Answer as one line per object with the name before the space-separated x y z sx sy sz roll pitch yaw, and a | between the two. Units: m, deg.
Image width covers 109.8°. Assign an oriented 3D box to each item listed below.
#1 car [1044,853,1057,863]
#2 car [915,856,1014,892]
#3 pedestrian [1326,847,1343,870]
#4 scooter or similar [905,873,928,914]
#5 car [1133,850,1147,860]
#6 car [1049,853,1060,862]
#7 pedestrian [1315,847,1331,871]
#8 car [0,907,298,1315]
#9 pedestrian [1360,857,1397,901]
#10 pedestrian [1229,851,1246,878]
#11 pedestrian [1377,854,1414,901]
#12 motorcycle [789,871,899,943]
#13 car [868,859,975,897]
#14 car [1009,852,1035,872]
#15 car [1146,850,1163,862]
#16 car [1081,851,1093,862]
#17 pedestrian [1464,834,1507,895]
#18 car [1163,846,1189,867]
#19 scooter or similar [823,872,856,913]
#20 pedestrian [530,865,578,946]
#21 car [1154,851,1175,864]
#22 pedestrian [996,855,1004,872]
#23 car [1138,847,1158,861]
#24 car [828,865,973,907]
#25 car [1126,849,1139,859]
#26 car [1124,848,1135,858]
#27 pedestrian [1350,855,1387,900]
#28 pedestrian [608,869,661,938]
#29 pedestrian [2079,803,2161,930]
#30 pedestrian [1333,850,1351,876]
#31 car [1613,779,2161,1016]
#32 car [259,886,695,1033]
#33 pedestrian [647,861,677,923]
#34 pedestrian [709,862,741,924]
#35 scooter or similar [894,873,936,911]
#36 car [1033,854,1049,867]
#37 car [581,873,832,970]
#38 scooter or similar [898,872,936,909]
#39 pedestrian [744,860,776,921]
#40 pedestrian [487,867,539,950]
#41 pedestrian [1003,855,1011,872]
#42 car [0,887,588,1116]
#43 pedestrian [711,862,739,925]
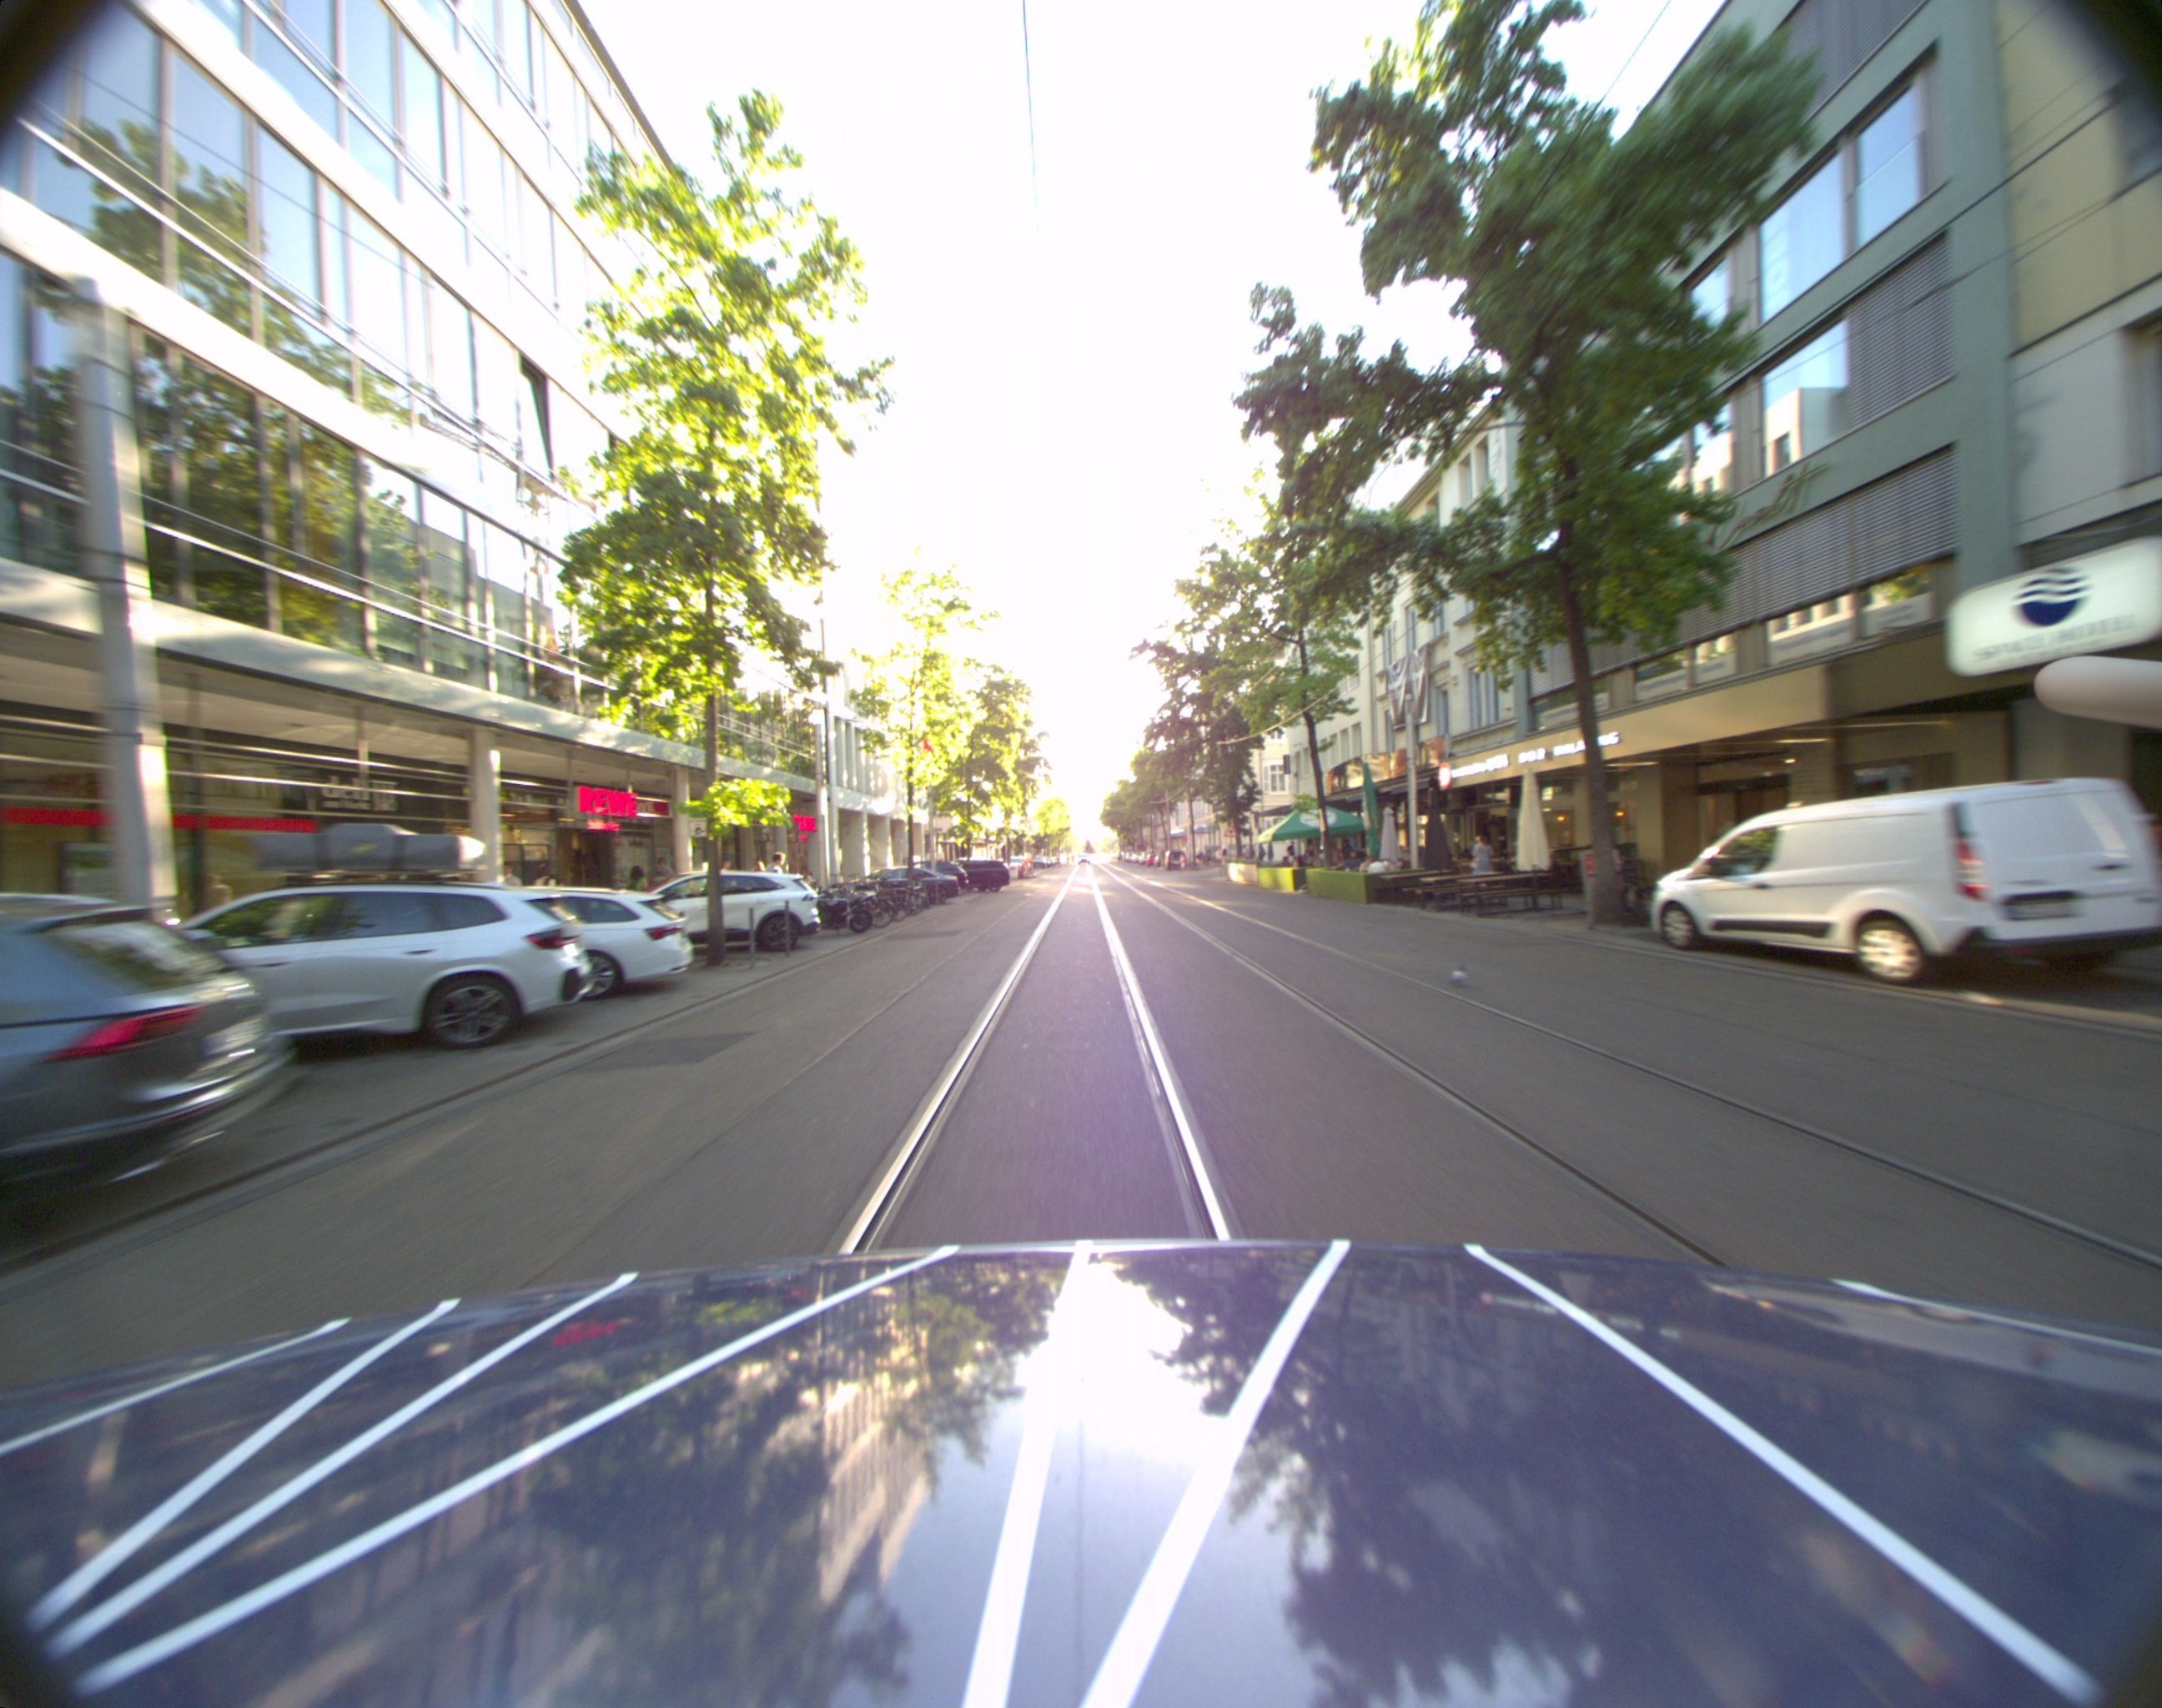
car | -4.800 0.683 121.586 1.770 1.502 4.286 -3 0 1
car | -6.036 0.993 39.374 4.674 1.753 1.990 0 1 -29
pedestrian | 12.902 0.223 38.721 0.553 1.155 0.687 -4 1 1
scooter or similar | -5.459 1.298 25.271 0.452 1.269 1.306 1 1 -1
car | 9.389 0.118 121.080 1.897 1.458 4.616 -5 0 1
car | -4.856 0.622 138.775 1.798 1.502 3.985 0 0 1
pedestrian | 12.323 0.253 38.723 0.553 1.155 0.687 -4 1 1
car | -6.577 1.172 3.124 4.363 1.642 1.690 0 0 -31
pedestrian | 8.469 0.698 21.647 0.658 1.186 0.798 -5 1 0
pedestrian | 8.525 0.574 41.322 0.691 1.378 0.807 -4 1 1
pedestrian | 9.221 0.681 22.284 0.658 1.286 0.798 -5 1 0
motorcycle | -5.516 1.192 17.827 2.324 1.501 0.856 -1 1 -43
car | -7.546 1.087 35.977 4.672 1.645 2.004 0 0 -23
car | -5.185 0.691 67.792 2.028 1.727 4.906 0 0 -1
car | 8.981 0.224 92.929 1.664 1.397 4.140 -5 0 1
car | 0.993 0.416 126.545 1.827 1.603 3.796 -2 0 1
pedestrian | 10.836 0.268 20.375 0.649 1.565 0.700 -5 1 0
car | 8.791 0.236 70.598 1.862 1.821 4.559 -3 0 2
scooter or similar | -8.124 1.283 25.526 0.564 1.286 1.676 0 0 -37
pedestrian | -11.595 1.122 16.739 0.626 1.733 0.599 -1 1 -5
car | 9.171 0.384 84.137 1.722 1.238 4.507 -5 0 0
pedestrian | -8.609 1.040 81.103 0.690 1.820 0.634 -2 1 0
car | 9.065 0.050 102.684 1.870 1.679 4.950 -5 0 -3
car | -6.929 1.174 29.442 5.071 1.460 1.972 0 0 -35
car | 9.559 -0.041 140.441 1.952 1.731 4.765 -5 0 0
car | 9.846 -0.166 155.313 1.932 1.946 4.765 -2 0 0
pedestrian | 8.478 0.692 22.459 0.658 1.237 0.872 -5 1 0
pedestrian | -10.905 1.197 18.576 0.716 1.614 0.882 -1 1 2
pedestrian | 13.031 0.136 9.213 0.771 1.458 0.765 -5 1 -2
pedestrian | 12.220 0.422 35.590 0.553 1.155 0.687 -4 1 1
car | 8.529 0.345 8.587 1.800 1.854 4.553 -5 0 1
car | -7.483 1.236 9.991 4.165 1.490 1.685 0 0 -23
pedestrian | -11.901 1.073 21.581 0.558 1.740 0.525 0 1 1
pedestrian | -10.006 1.083 21.360 0.518 1.686 0.550 -2 1 5
scooter or similar | -5.728 1.297 26.229 1.309 1.269 0.563 1 1 -31
car | -5.452 0.924 103.924 1.985 1.679 4.873 0 0 0
car | -7.203 1.191 14.767 4.167 1.562 1.849 0 0 -32
scooter or similar | -5.816 1.276 27.049 0.457 1.269 1.310 2 1 37
pedestrian | -9.166 1.041 21.728 0.681 1.686 0.549 -3 1 -12
pedestrian | -12.239 1.155 16.377 0.626 1.733 0.599 -1 1 -1
pedestrian | -7.897 0.987 81.146 0.707 1.820 0.634 -2 1 0
car | -7.354 1.190 7.334 4.256 1.578 1.880 0 0 -31
pedestrian | -9.981 1.086 21.314 0.524 1.740 0.559 0 1 2
